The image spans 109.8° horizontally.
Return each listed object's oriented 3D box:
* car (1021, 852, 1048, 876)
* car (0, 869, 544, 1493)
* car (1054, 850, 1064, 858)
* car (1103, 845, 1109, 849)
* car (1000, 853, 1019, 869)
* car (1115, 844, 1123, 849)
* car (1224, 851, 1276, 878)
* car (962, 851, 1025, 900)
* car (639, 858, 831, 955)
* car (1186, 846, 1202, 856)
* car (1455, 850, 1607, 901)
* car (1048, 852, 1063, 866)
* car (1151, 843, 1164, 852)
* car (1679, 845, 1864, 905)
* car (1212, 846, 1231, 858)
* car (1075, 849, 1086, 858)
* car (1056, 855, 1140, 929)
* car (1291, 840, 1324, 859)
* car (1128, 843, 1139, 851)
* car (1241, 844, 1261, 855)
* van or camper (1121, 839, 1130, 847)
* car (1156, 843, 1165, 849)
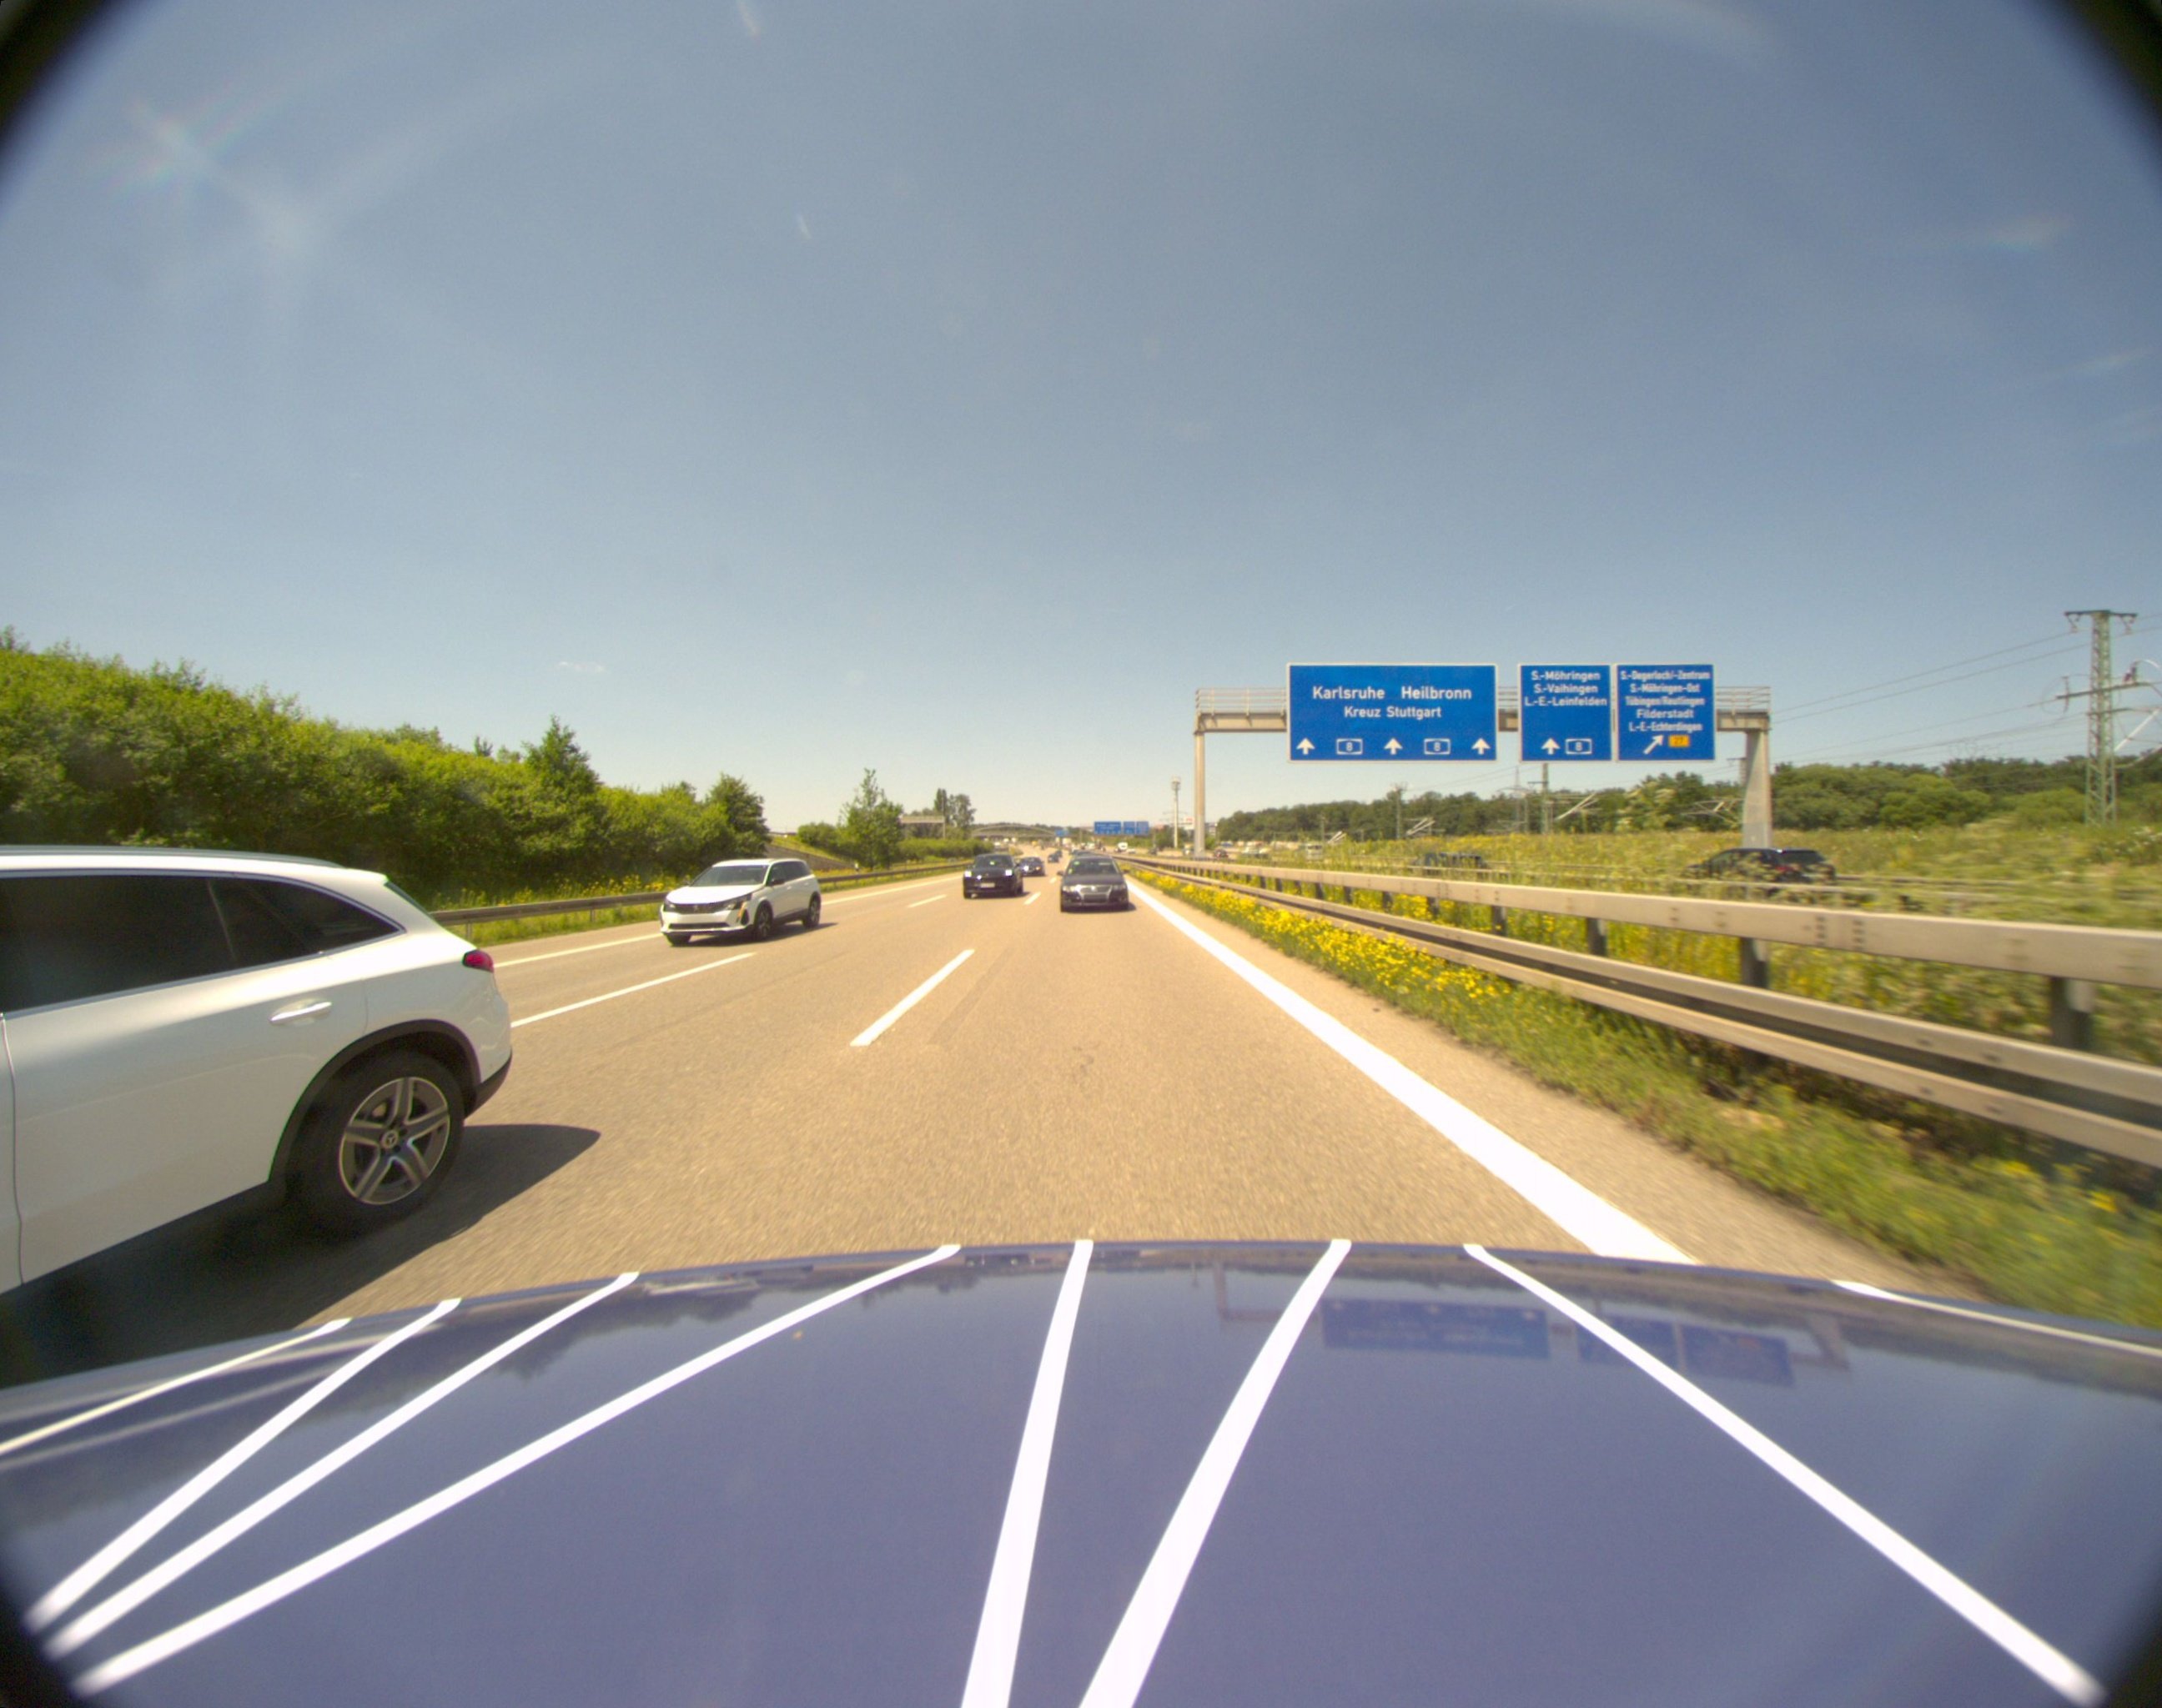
[{"bbox_3d":[-3.211,0.679,53.360,1.752,1.462,3.998,-2,1,-3],"label":"car"},{"bbox_3d":[-3.915,0.945,1.803,1.909,1.646,4.636,-2,0,0],"label":"car"},{"bbox_3d":[-4.908,-0.095,170.758,1.999,1.691,3.999,-2,1,-1],"label":"car"},{"bbox_3d":[8.610,-2.442,261.072,1.999,1.500,4.887,-3,1,-1],"label":"car"},{"bbox_3d":[-6.862,0.647,73.102,1.752,1.462,3.997,-2,1,-5],"label":"car"},{"bbox_3d":[10.849,-2.170,217.018,1.999,1.565,4.549,-1,1,-1],"label":"car"},{"bbox_3d":[9.094,0.532,41.263,1.872,1.387,4.270,-1,0,0],"label":"car"},{"bbox_3d":[-3.271,0.758,29.285,1.983,1.620,4.615,-2,1,-2],"label":"car"},{"bbox_3d":[-7.066,0.979,16.176,1.898,1.620,4.616,-2,1,0],"label":"car"},{"bbox_3d":[18.353,-0.499,123.908,1.998,1.567,4.476,-1,1,1],"label":"car"},{"bbox_3d":[13.601,0.584,23.323,1.872,1.387,4.512,-1,0,-2],"label":"car"},{"bbox_3d":[-3.817,0.693,113.962,1.999,2.002,3.999,-2,1,-1],"label":"car"},{"bbox_3d":[14.438,-1.242,143.087,1.934,1.475,4.476,-1,1,0],"label":"car"},{"bbox_3d":[22.294,0.605,24.844,1.998,1.716,4.513,-2,0,1],"label":"car"},{"bbox_3d":[19.231,-0.285,104.309,1.998,1.567,4.477,-1,1,3],"label":"car"},{"bbox_3d":[-0.180,-0.080,147.000,1.999,1.691,3.999,-2,1,-1],"label":"car"},{"bbox_3d":[0.330,0.815,18.267,1.752,1.462,3.999,-2,1,-1],"label":"car"},{"bbox_3d":[24.001,-0.470,80.689,1.998,1.875,4.977,-2,0,1],"label":"car"},{"bbox_3d":[12.703,-1.774,184.192,1.999,1.820,5.598,-1,1,0],"label":"car"},{"bbox_3d":[25.072,-0.669,112.242,1.998,1.567,4.476,-1,1,1],"label":"car"},{"bbox_3d":[14.298,-3.475,243.080,2.343,2.641,7.603,-2,1,-1],"label":"van or camper"},{"bbox_3d":[21.910,-2.297,209.896,1.998,1.588,4.933,-1,1,1],"label":"car"}]
